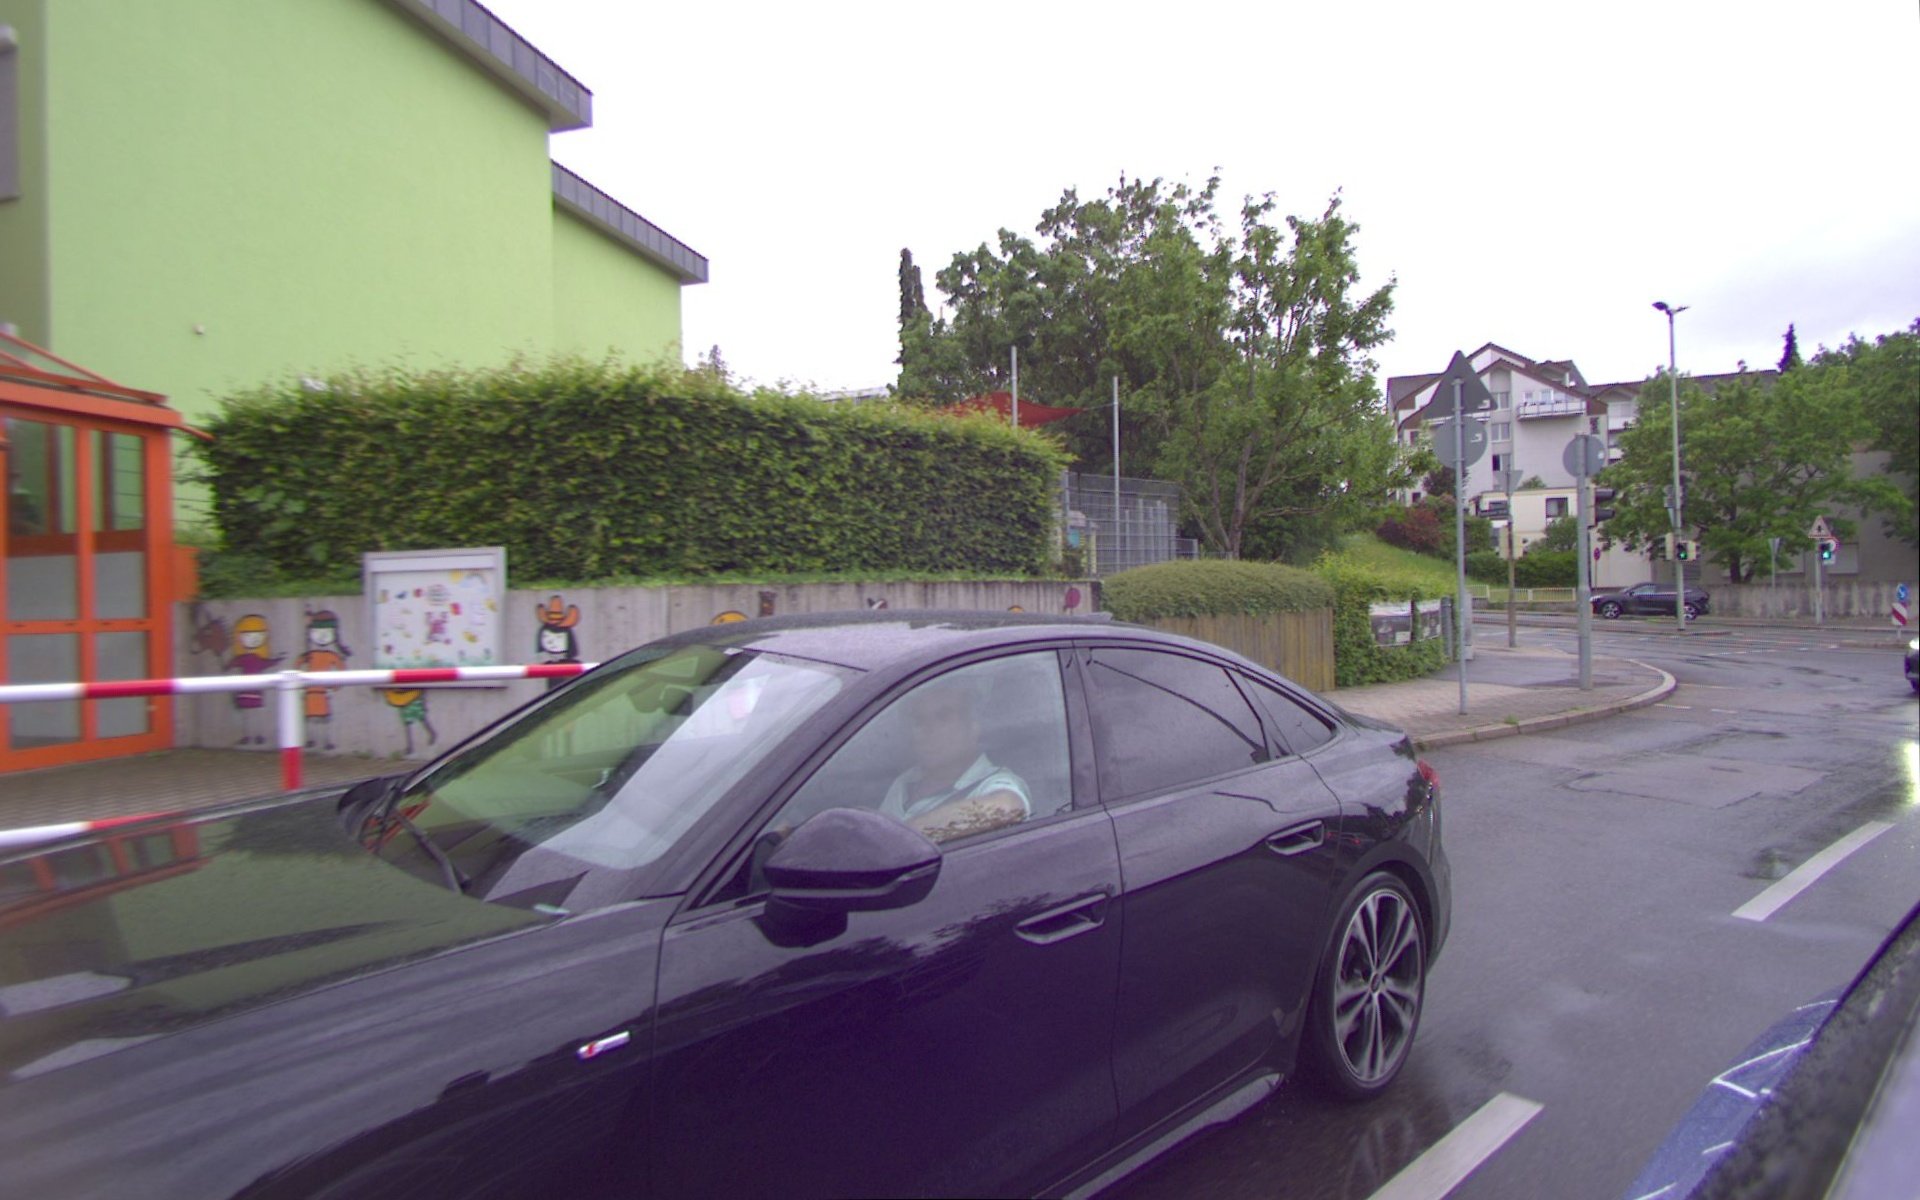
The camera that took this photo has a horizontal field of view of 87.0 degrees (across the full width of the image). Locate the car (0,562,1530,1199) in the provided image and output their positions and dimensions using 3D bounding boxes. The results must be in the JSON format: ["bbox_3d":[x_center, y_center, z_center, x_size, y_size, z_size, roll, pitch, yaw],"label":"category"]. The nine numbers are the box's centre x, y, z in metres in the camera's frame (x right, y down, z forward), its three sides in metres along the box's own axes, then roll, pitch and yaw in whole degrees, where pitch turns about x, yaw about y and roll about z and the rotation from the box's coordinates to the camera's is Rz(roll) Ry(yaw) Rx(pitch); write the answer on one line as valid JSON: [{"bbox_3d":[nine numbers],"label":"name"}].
[{"bbox_3d":[-0.395,0.664,2.720,4.657,1.442,1.869,-2,1,-41],"label":"car"}]

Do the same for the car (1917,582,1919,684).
[{"bbox_3d":[16.601,0.442,15.511,3.922,1.538,1.875,-2,1,-32],"label":"car"}]

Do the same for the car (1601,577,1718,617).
[{"bbox_3d":[29.280,-0.112,42.513,3.971,1.571,1.674,-1,1,34],"label":"car"}]
